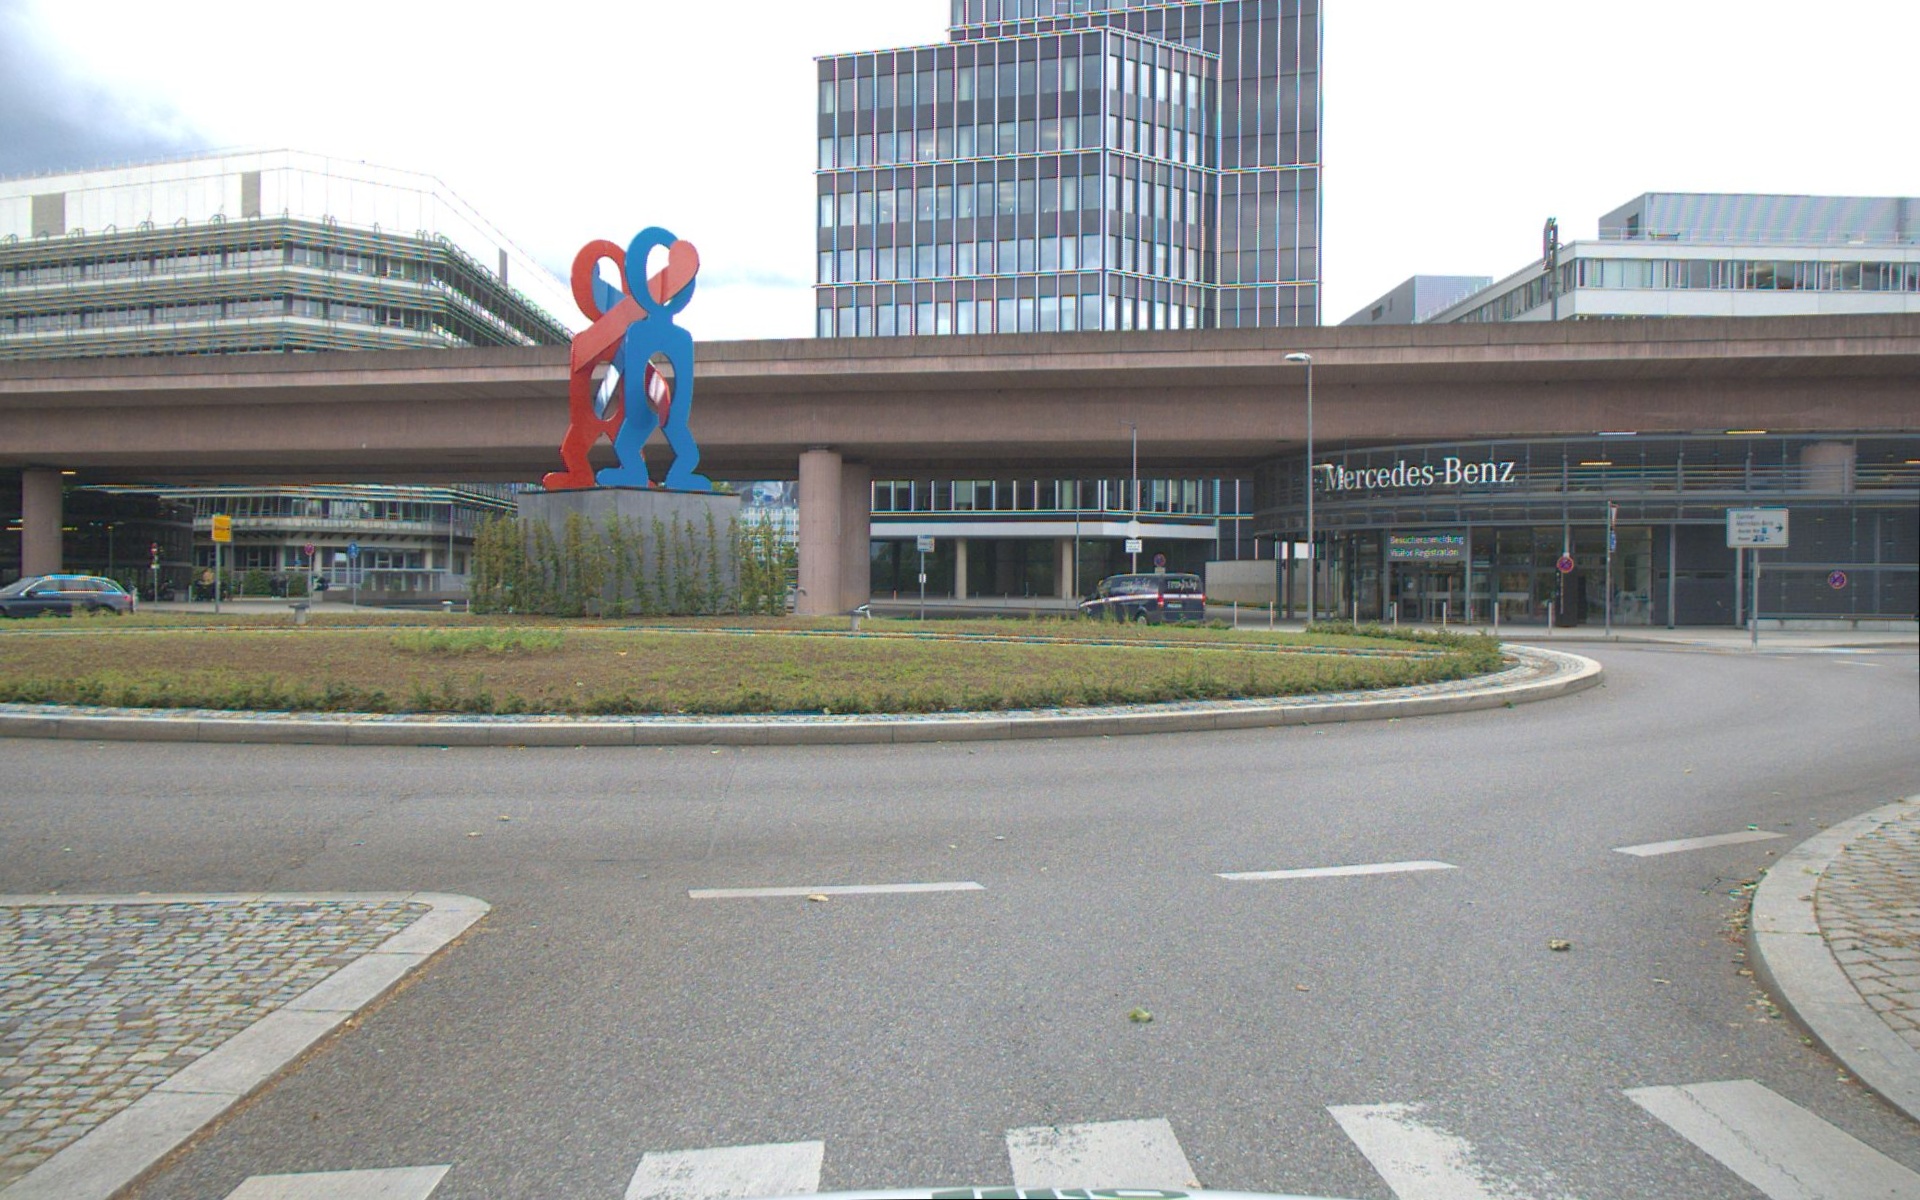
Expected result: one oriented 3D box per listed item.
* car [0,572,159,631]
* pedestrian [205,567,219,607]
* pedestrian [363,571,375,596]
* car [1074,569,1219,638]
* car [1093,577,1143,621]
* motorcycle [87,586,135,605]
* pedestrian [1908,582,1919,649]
[{"bbox_3d":[-24.037,0.050,43.585,1.962,1.486,4.910,1,0,39],"label":"car"},{"bbox_3d":[-39.093,-0.684,86.439,0.579,2.049,0.596,1,0,-17],"label":"pedestrian"},{"bbox_3d":[-49.711,-1.378,139.104,0.761,2.049,0.670,1,0,-5],"label":"pedestrian"},{"bbox_3d":[5.794,0.097,52.033,2.251,2.049,4.738,1,0,-29],"label":"car"},{"bbox_3d":[7.650,-0.049,79.703,1.951,2.049,4.003,1,0,12],"label":"car"},{"bbox_3d":[-52.041,-0.272,101.361,2.597,1.132,1.040,1,0,15],"label":"motorcycle"},{"bbox_3d":[23.439,0.372,39.830,0.813,1.598,0.690,1,0,5],"label":"pedestrian"}]
